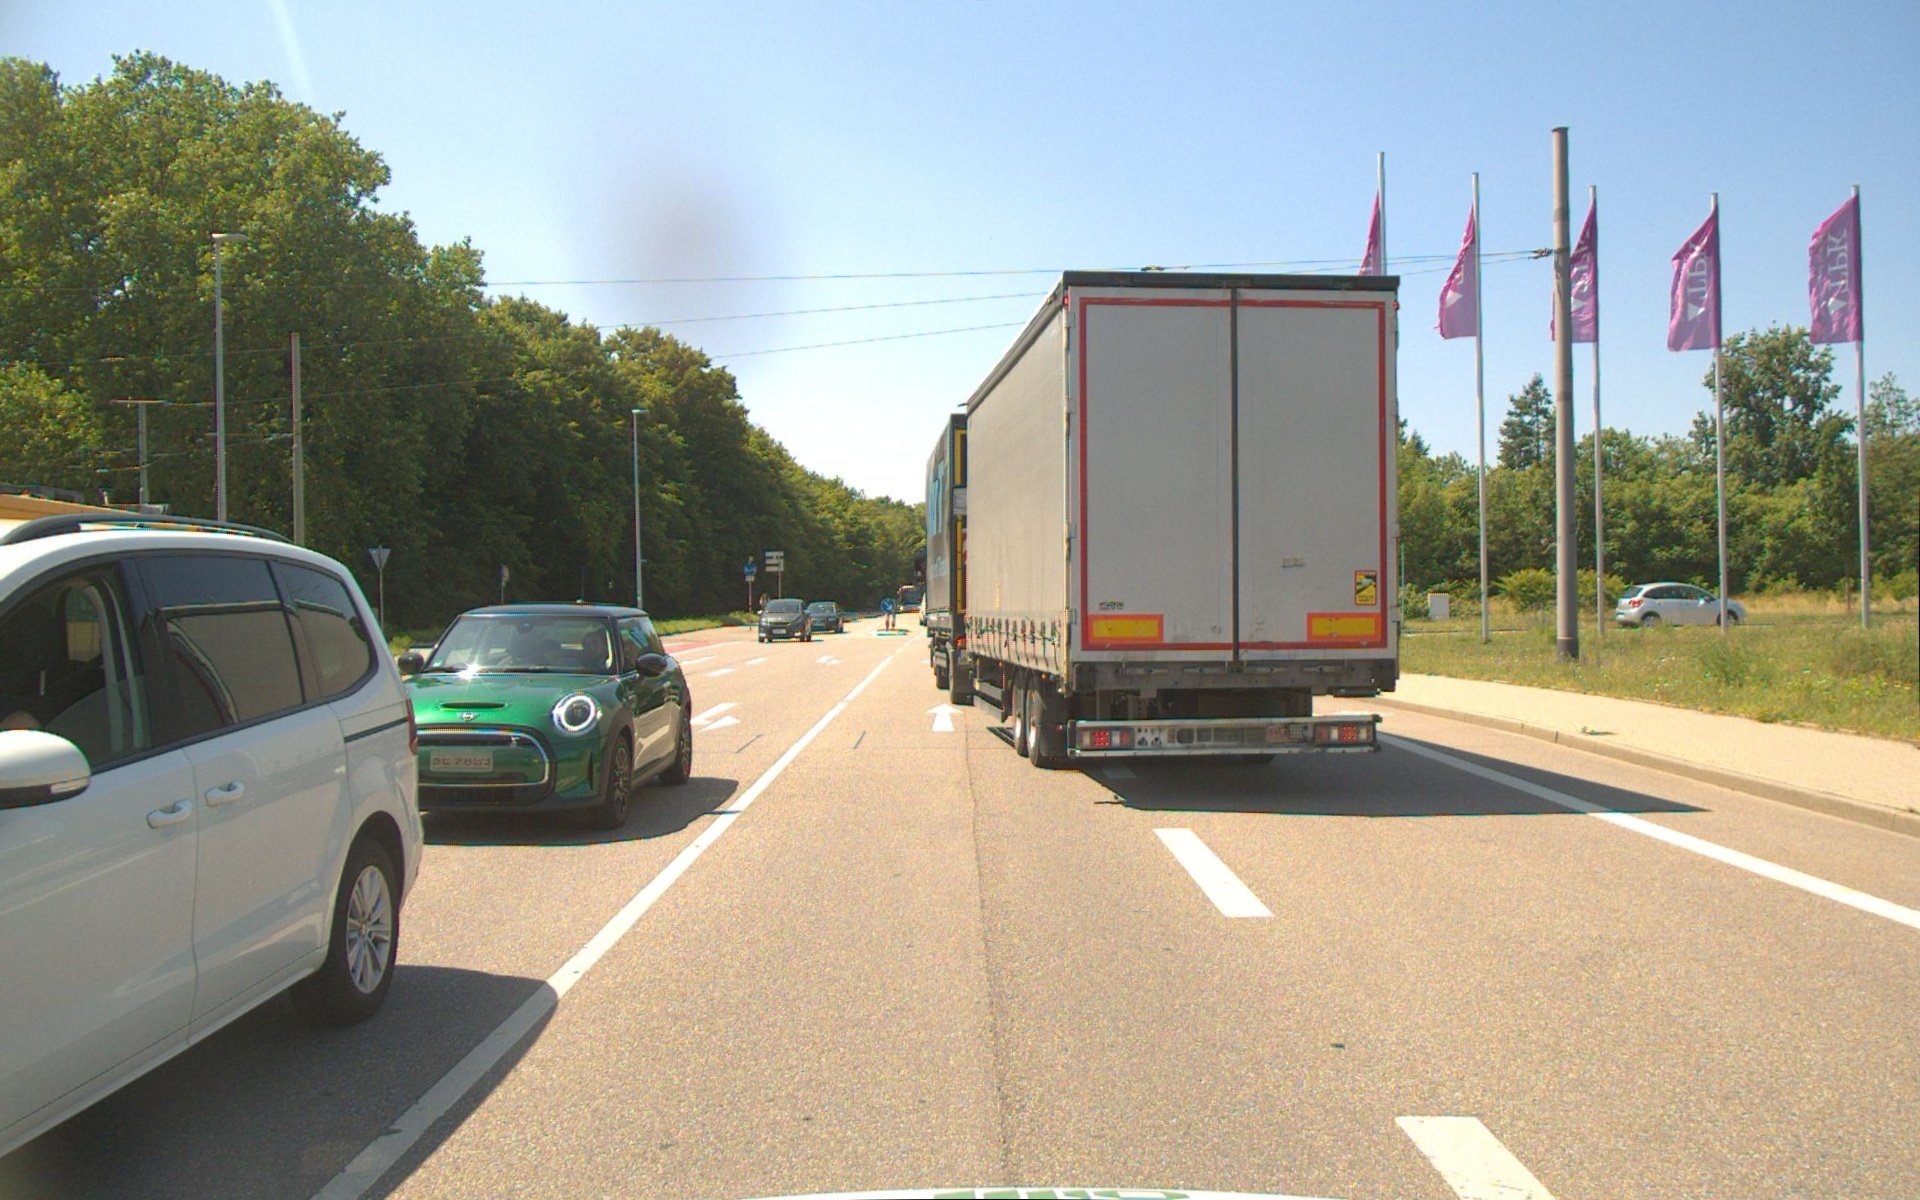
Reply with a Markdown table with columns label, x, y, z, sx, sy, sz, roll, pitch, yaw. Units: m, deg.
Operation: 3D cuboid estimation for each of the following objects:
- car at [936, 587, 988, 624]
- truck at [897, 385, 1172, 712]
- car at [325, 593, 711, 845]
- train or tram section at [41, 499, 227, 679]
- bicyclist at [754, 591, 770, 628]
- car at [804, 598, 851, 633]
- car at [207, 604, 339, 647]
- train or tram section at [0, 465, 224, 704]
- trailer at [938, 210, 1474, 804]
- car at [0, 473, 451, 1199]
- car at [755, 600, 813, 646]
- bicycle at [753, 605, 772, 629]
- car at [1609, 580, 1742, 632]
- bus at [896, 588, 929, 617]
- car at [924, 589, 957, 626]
| label | x | y | z | sx | sy | sz | roll | pitch | yaw |
| --- | --- | --- | --- | --- | --- | --- | --- | --- | --- |
| car | 0.139 | 0.248 | 76.534 | 1.982 | 1.661 | 4.003 | -1 | 0 | 6 |
| truck | 0.812 | -0.670 | 25.041 | 3.018 | 4.141 | 7.948 | 0 | 0 | -6 |
| car | -2.945 | 0.705 | 11.888 | 1.687 | 1.488 | 3.990 | 0 | 0 | 0 |
| train or tram section | -20.692 | -0.201 | 40.988 | 2.987 | 3.824 | 11.490 | -2 | 1 | -32 |
| bicyclist | -9.370 | 0.427 | 78.336 | 0.651 | 1.735 | 0.769 | 0 | 0 | 1 |
| car | -6.113 | 0.702 | 76.748 | 1.708 | 1.430 | 4.442 | -1 | 1 | 1 |
| car | -25.167 | 0.939 | 60.641 | 4.207 | 1.442 | 1.668 | -1 | -1 | 8 |
| train or tram section | -17.241 | -0.225 | 30.222 | 2.958 | 3.824 | 12.976 | -2 | 1 | -6 |
| trailer | 1.700 | -0.667 | 16.571 | 3.018 | 4.141 | 9.796 | 0 | 0 | -6 |
| car | -2.924 | 0.606 | 4.197 | 1.774 | 1.753 | 4.831 | 0 | 0 | 0 |
| car | -6.099 | 0.777 | 57.541 | 1.589 | 1.481 | 3.501 | -2 | 0 | 0 |
| bicycle | -9.366 | 0.804 | 78.498 | 0.655 | 1.073 | 2.045 | 0 | 1 | 1 |
| car | 22.645 | 0.176 | 52.452 | 3.538 | 1.559 | 1.707 | 1 | 0 | 10 |
| bus | -5.613 | 0.245 | 197.589 | 2.693 | 3.097 | 11.943 | -5 | 0 | 3 |
| car | -1.038 | 0.406 | 90.858 | 1.621 | 1.940 | 4.001 | -1 | 0 | 1 |
